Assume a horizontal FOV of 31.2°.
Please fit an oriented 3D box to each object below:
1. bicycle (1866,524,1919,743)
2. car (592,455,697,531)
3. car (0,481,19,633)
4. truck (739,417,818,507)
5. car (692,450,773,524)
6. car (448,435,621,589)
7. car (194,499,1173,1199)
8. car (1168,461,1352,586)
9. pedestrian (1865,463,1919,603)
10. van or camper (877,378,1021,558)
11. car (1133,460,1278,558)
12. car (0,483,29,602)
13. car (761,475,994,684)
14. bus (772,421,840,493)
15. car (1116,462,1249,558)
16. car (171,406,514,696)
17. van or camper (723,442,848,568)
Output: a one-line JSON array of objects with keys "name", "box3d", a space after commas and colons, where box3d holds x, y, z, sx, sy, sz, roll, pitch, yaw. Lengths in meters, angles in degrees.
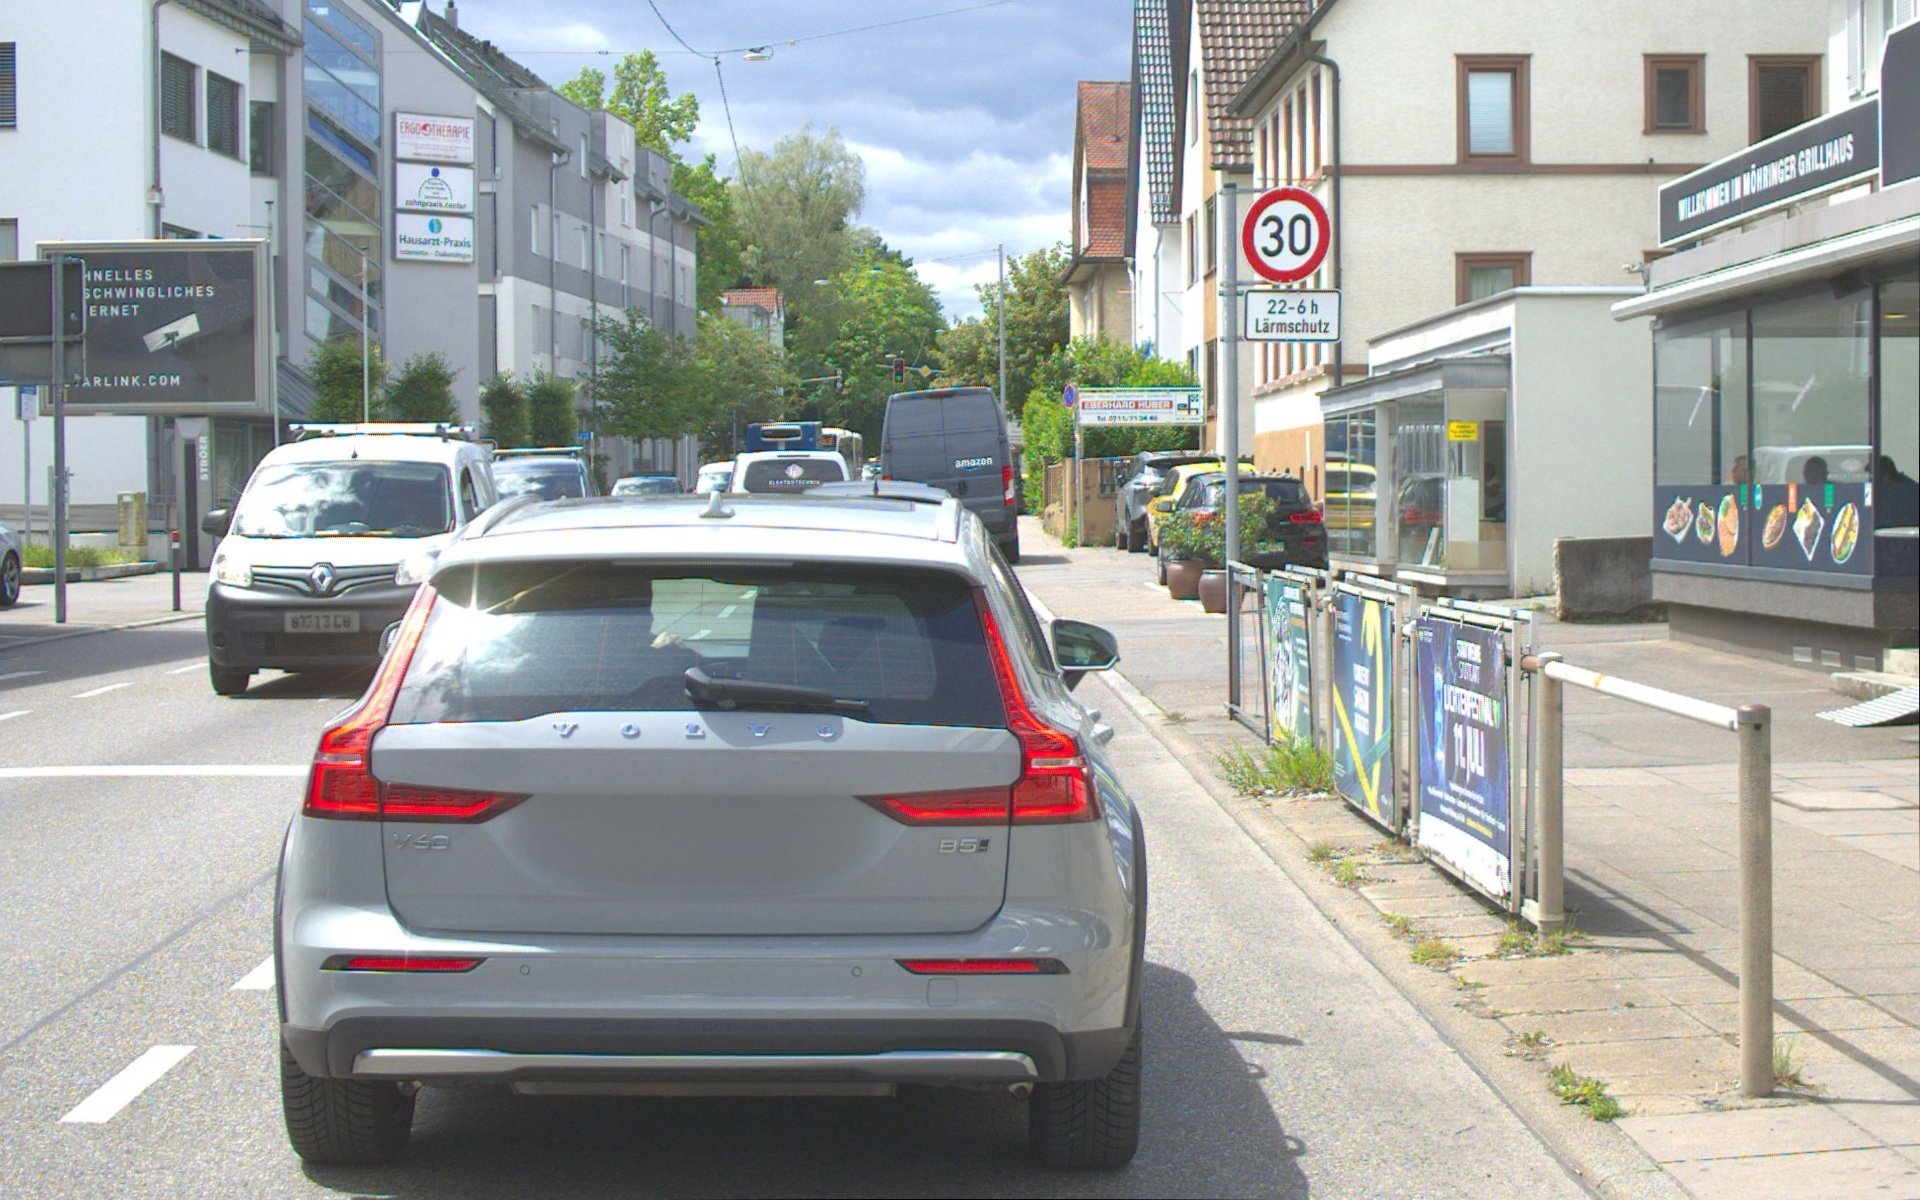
[{"name": "bicycle", "box3d": [5.526, 0.194, 17.547, 0.554, 1.140, 2.301, -2, 2, -19]}, {"name": "car", "box3d": [-6.149, -2.116, 67.344, 1.762, 1.421, 4.001, -1, 2, -1]}, {"name": "car", "box3d": [-9.966, -0.331, 31.066, 1.755, 1.421, 3.862, -1, 2, 1]}, {"name": "truck", "box3d": [-6.032, -4.624, 115.180, 2.276, 2.876, 7.080, -1, 2, 0]}, {"name": "car", "box3d": [-5.768, -2.906, 87.614, 1.797, 1.809, 4.001, -1, 2, 0]}, {"name": "car", "box3d": [-5.626, -1.185, 45.942, 1.838, 1.910, 4.532, -1, 2, -2]}, {"name": "car", "box3d": [-0.575, 0.502, 8.485, 1.835, 1.481, 4.001, 0, 2, -2]}, {"name": "car", "box3d": [3.658, -0.932, 42.494, 1.710, 1.459, 4.001, 0, 1, -3]}, {"name": "pedestrian", "box3d": [7.146, -0.510, 26.134, 0.414, 1.048, 0.368, -1, 2, -2]}, {"name": "van or camper", "box3d": [-0.181, -2.078, 54.138, 2.123, 2.677, 4.782, -1, 2, 0]}, {"name": "car", "box3d": [3.654, -1.344, 51.782, 1.882, 1.411, 3.972, 0, 1, 0]}, {"name": "car", "box3d": [-12.241, -0.632, 39.714, 1.906, 1.393, 3.842, -1, 2, 0]}, {"name": "car", "box3d": [-0.637, -0.202, 26.294, 1.650, 1.477, 3.608, 0, 2, -2]}, {"name": "bus", "box3d": [-5.853, -5.483, 131.793, 2.276, 2.659, 7.430, -1, 2, 0]}, {"name": "car", "box3d": [3.594, -1.444, 56.122, 1.882, 1.495, 3.972, 0, 1, 0]}, {"name": "car", "box3d": [-4.361, -0.385, 24.840, 1.838, 1.910, 4.156, 0, 2, -2]}, {"name": "van or camper", "box3d": [-2.646, -1.422, 52.819, 1.819, 1.828, 4.000, 0, 0, -2]}]
